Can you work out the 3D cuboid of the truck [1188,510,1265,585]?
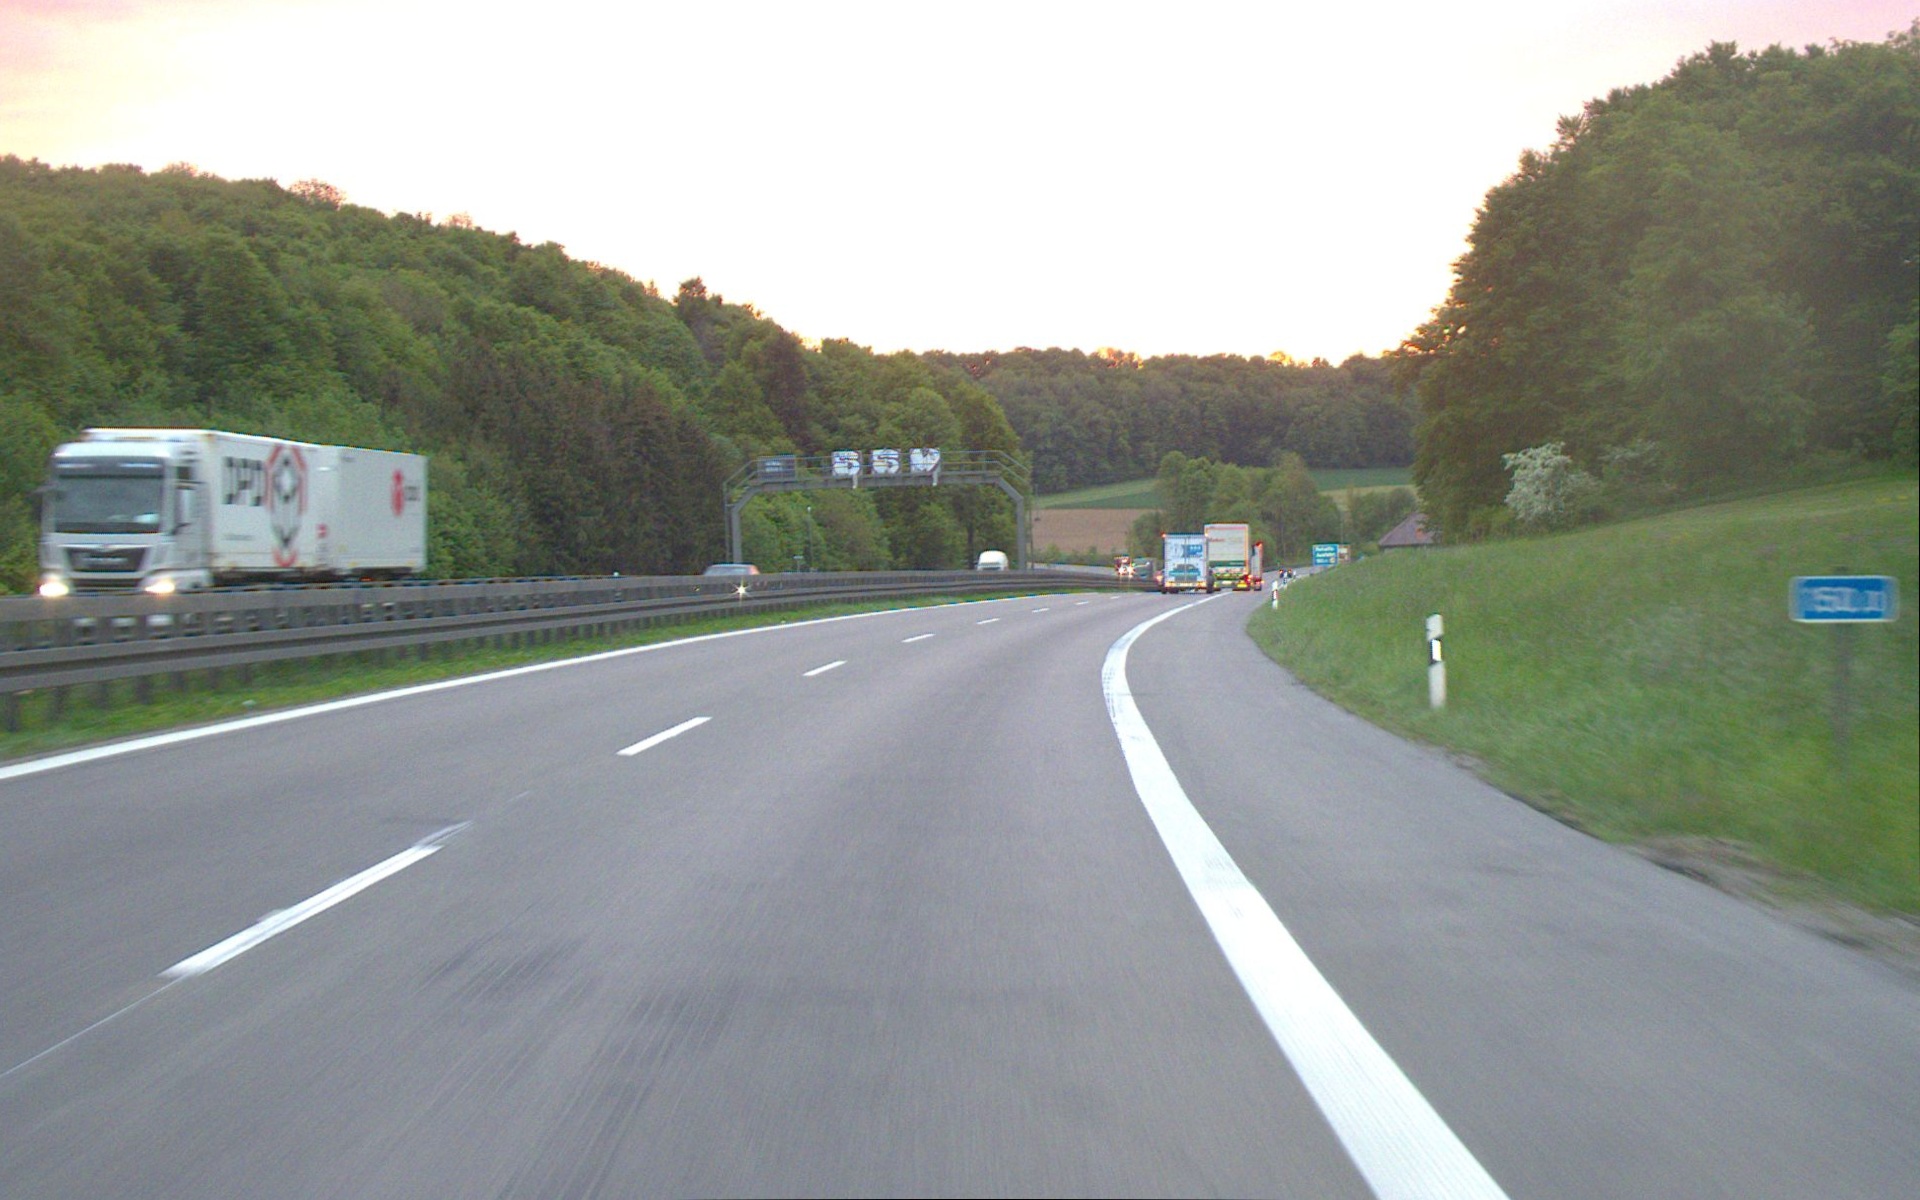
[{"bbox_3d":[16.271,-3.274,208.906,3.959,4.272,14.321,-1,2,7],"label":"truck"}]

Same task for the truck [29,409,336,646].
[{"bbox_3d":[-14.940,-1.393,67.027,2.865,4.266,10.064,0,1,5],"label":"truck"}]

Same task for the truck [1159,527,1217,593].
[{"bbox_3d":[10.280,-1.833,154.851,2.276,2.655,5.235,-2,3,7],"label":"truck"}]

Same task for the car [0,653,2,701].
[{"bbox_3d":[-12.554,0.517,39.214,1.654,1.545,4.672,-2,1,3],"label":"car"}]

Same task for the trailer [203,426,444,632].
[{"bbox_3d":[-14.054,-1.578,76.736,2.832,4.302,9.291,0,1,5],"label":"trailer"}]

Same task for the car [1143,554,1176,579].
[{"bbox_3d":[12.890,-2.168,221.614,1.994,1.512,4.000,-1,1,5],"label":"car"}]

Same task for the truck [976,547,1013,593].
[{"bbox_3d":[2.348,-2.024,232.194,1.994,3.057,5.593,0,1,6],"label":"truck"}]
